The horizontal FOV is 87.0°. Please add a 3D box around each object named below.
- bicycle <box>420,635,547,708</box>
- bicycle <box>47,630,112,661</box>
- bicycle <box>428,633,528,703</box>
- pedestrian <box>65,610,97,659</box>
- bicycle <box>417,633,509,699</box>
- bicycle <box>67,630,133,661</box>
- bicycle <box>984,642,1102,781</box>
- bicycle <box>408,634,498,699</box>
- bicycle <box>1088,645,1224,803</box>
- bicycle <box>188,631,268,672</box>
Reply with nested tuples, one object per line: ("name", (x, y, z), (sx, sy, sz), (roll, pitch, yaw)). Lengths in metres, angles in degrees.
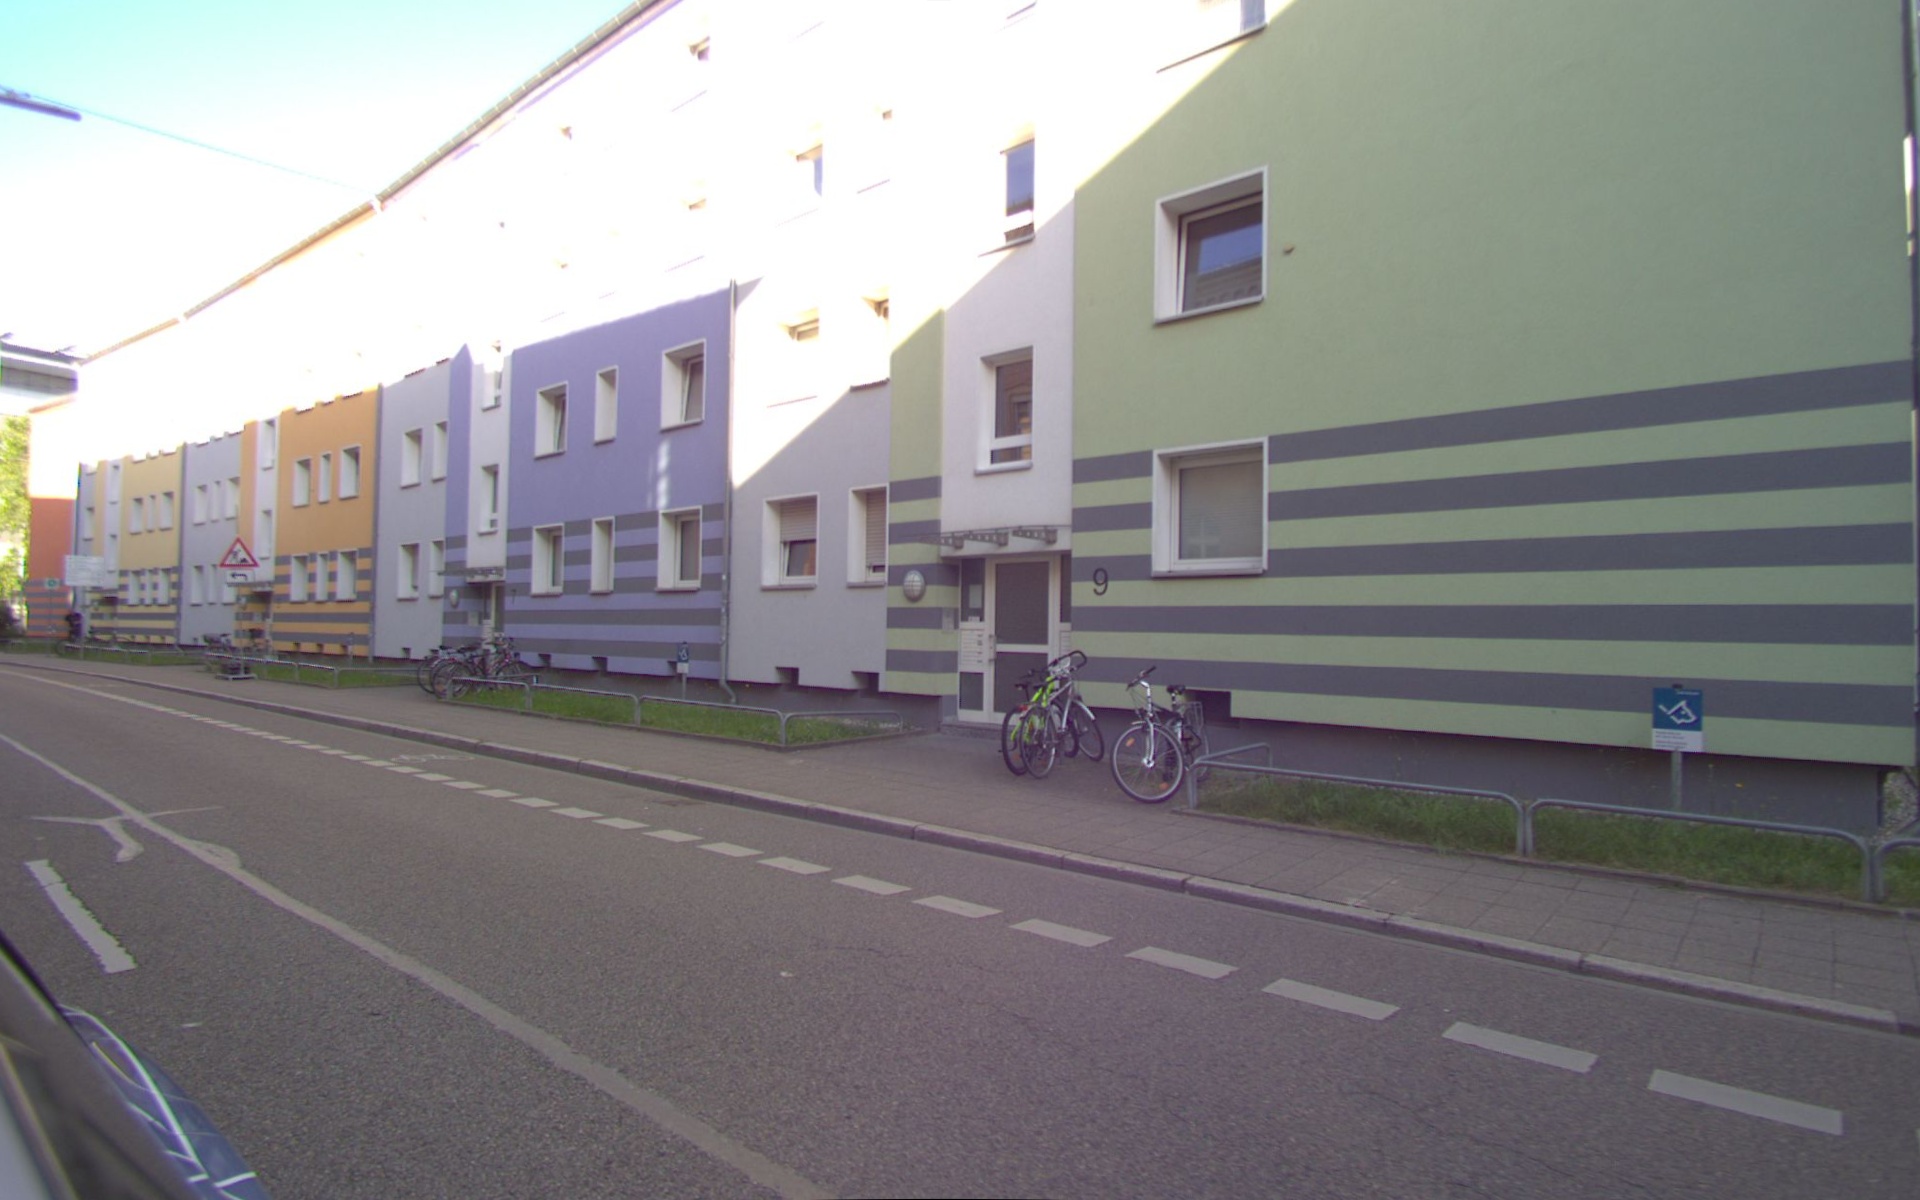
("bicycle", (-8.545, 1.253, 18.242), (0.622, 1.241, 1.989), (-1, -2, 37))
("bicycle", (-33.574, 1.715, 38.599), (0.648, 1.154, 1.739), (-1, -2, 30))
("bicycle", (-8.962, 1.250, 18.869), (0.466, 1.251, 1.623), (-1, -3, 37))
("pedestrian", (-33.788, 1.335, 38.917), (0.709, 1.869, 0.872), (2, -2, -30))
("bicycle", (-9.748, 1.273, 19.887), (0.448, 1.251, 1.569), (-1, -3, 37))
("bicycle", (-32.284, 1.704, 38.027), (0.648, 1.154, 1.739), (-1, -2, 30))
("bicycle", (0.901, 1.086, 10.459), (0.610, 1.188, 1.919), (0, 0, 24))
("bicycle", (-10.074, 1.301, 20.147), (0.383, 1.251, 1.564), (-1, -3, 37))
("bicycle", (1.847, 1.060, 9.300), (0.611, 1.188, 1.915), (0, 1, 31))
("bicycle", (-21.158, 1.487, 29.285), (0.648, 1.154, 1.739), (-1, -2, 30))
